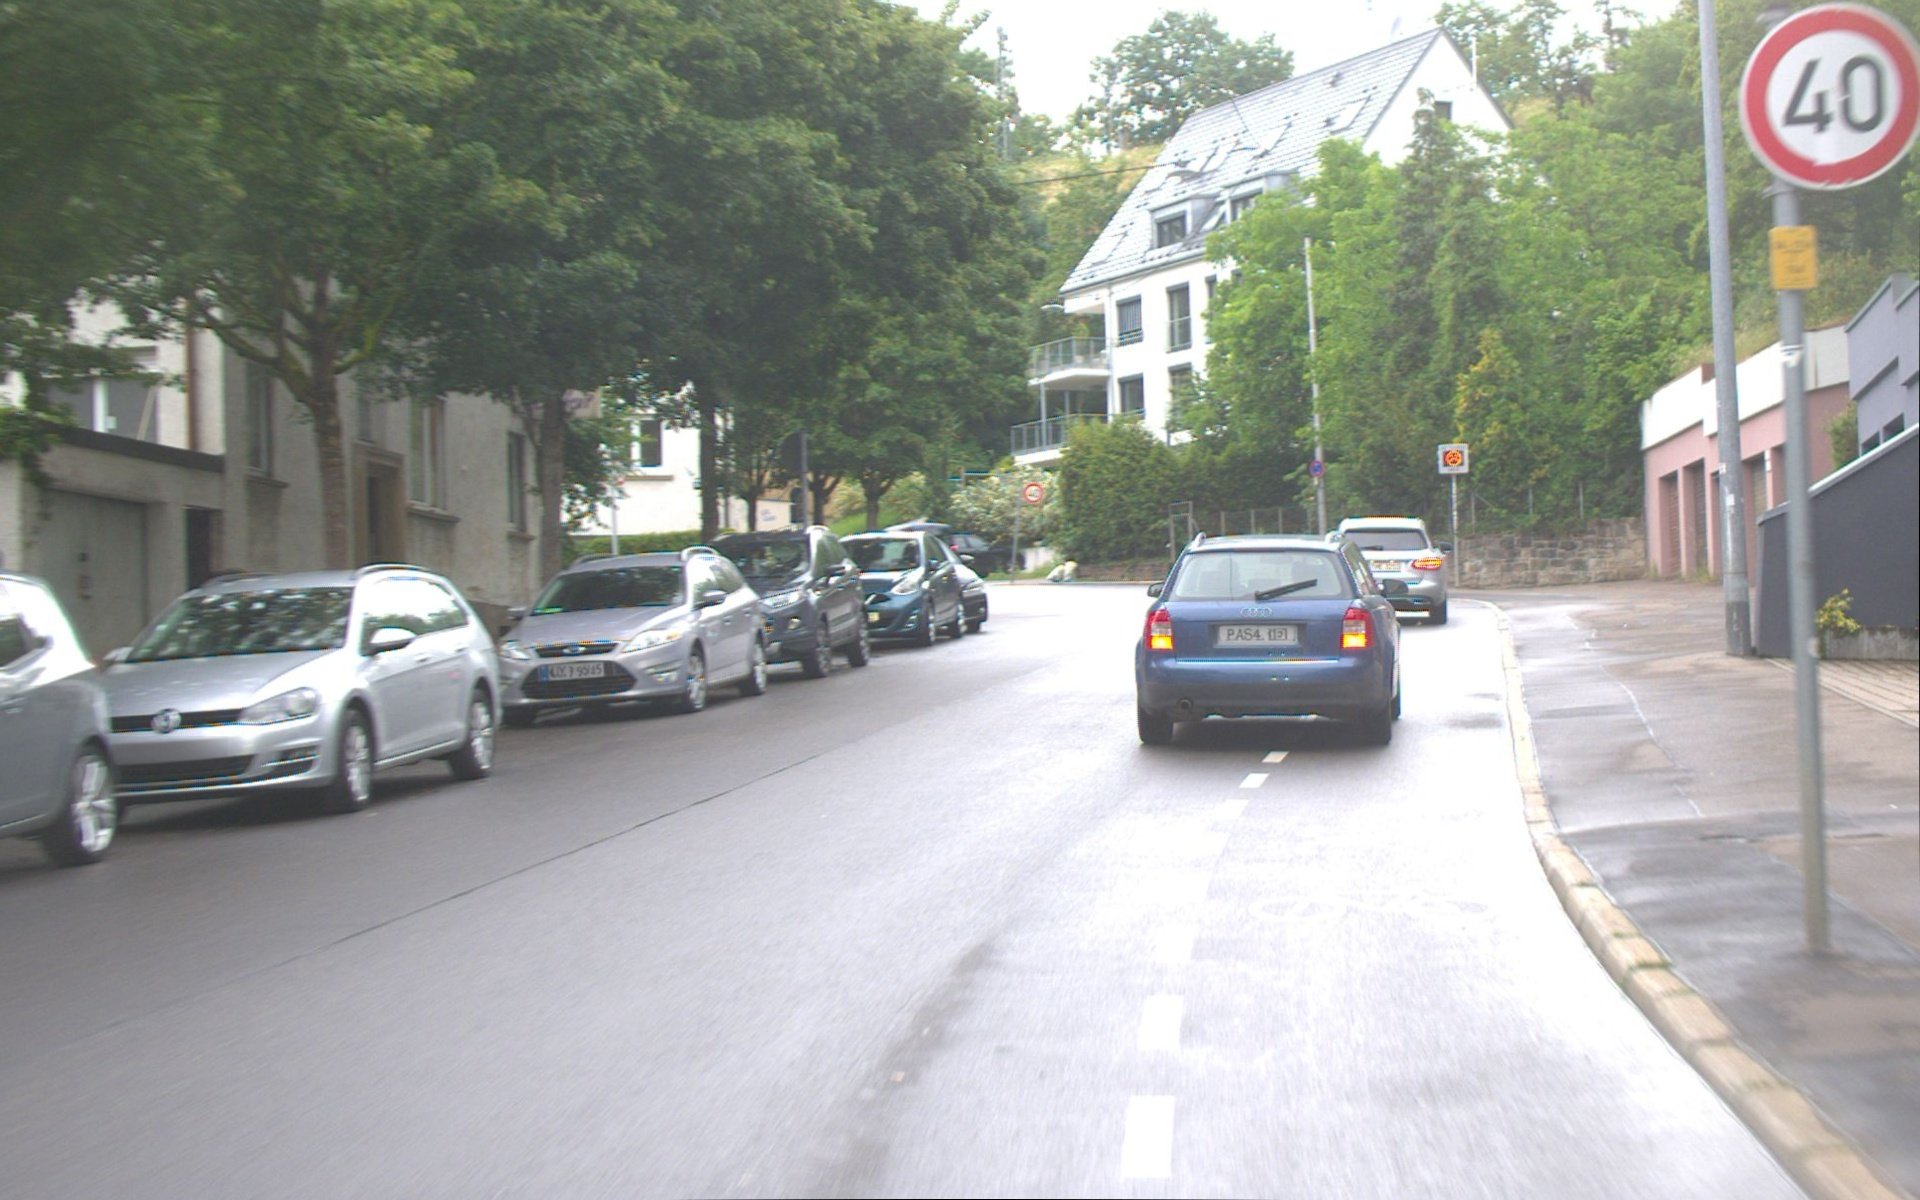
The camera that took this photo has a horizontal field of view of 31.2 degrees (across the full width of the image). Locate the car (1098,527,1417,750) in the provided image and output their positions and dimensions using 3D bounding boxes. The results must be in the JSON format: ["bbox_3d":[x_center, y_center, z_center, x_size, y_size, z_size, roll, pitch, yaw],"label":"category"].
[{"bbox_3d":[2.229,0.215,24.675,1.855,1.409,4.360,-1,1,10],"label":"car"}]

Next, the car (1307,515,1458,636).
[{"bbox_3d":[5.938,-0.383,48.256,1.950,1.556,4.262,2,2,7],"label":"car"}]

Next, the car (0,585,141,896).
[{"bbox_3d":[-5.527,0.717,16.211,1.805,1.480,4.235,-3,0,7],"label":"car"}]

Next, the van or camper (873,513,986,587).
[{"bbox_3d":[-0.898,-1.408,99.169,1.993,2.007,4.001,0,-1,-21],"label":"van or camper"}]

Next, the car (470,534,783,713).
[{"bbox_3d":[-3.034,0.200,32.323,1.805,1.547,4.798,0,0,9],"label":"car"}]

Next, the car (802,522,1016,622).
[{"bbox_3d":[-0.806,-0.412,50.720,1.993,1.386,4.199,-1,1,-18],"label":"car"}]

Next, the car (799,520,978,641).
[{"bbox_3d":[-0.910,-0.296,45.951,1.713,1.457,3.880,1,3,9],"label":"car"}]

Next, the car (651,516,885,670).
[{"bbox_3d":[-2.089,-0.104,38.616,1.805,1.621,4.138,0,1,9],"label":"car"}]

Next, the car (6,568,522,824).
[{"bbox_3d":[-4.259,0.542,21.840,1.805,1.448,4.595,0,0,8],"label":"car"}]
